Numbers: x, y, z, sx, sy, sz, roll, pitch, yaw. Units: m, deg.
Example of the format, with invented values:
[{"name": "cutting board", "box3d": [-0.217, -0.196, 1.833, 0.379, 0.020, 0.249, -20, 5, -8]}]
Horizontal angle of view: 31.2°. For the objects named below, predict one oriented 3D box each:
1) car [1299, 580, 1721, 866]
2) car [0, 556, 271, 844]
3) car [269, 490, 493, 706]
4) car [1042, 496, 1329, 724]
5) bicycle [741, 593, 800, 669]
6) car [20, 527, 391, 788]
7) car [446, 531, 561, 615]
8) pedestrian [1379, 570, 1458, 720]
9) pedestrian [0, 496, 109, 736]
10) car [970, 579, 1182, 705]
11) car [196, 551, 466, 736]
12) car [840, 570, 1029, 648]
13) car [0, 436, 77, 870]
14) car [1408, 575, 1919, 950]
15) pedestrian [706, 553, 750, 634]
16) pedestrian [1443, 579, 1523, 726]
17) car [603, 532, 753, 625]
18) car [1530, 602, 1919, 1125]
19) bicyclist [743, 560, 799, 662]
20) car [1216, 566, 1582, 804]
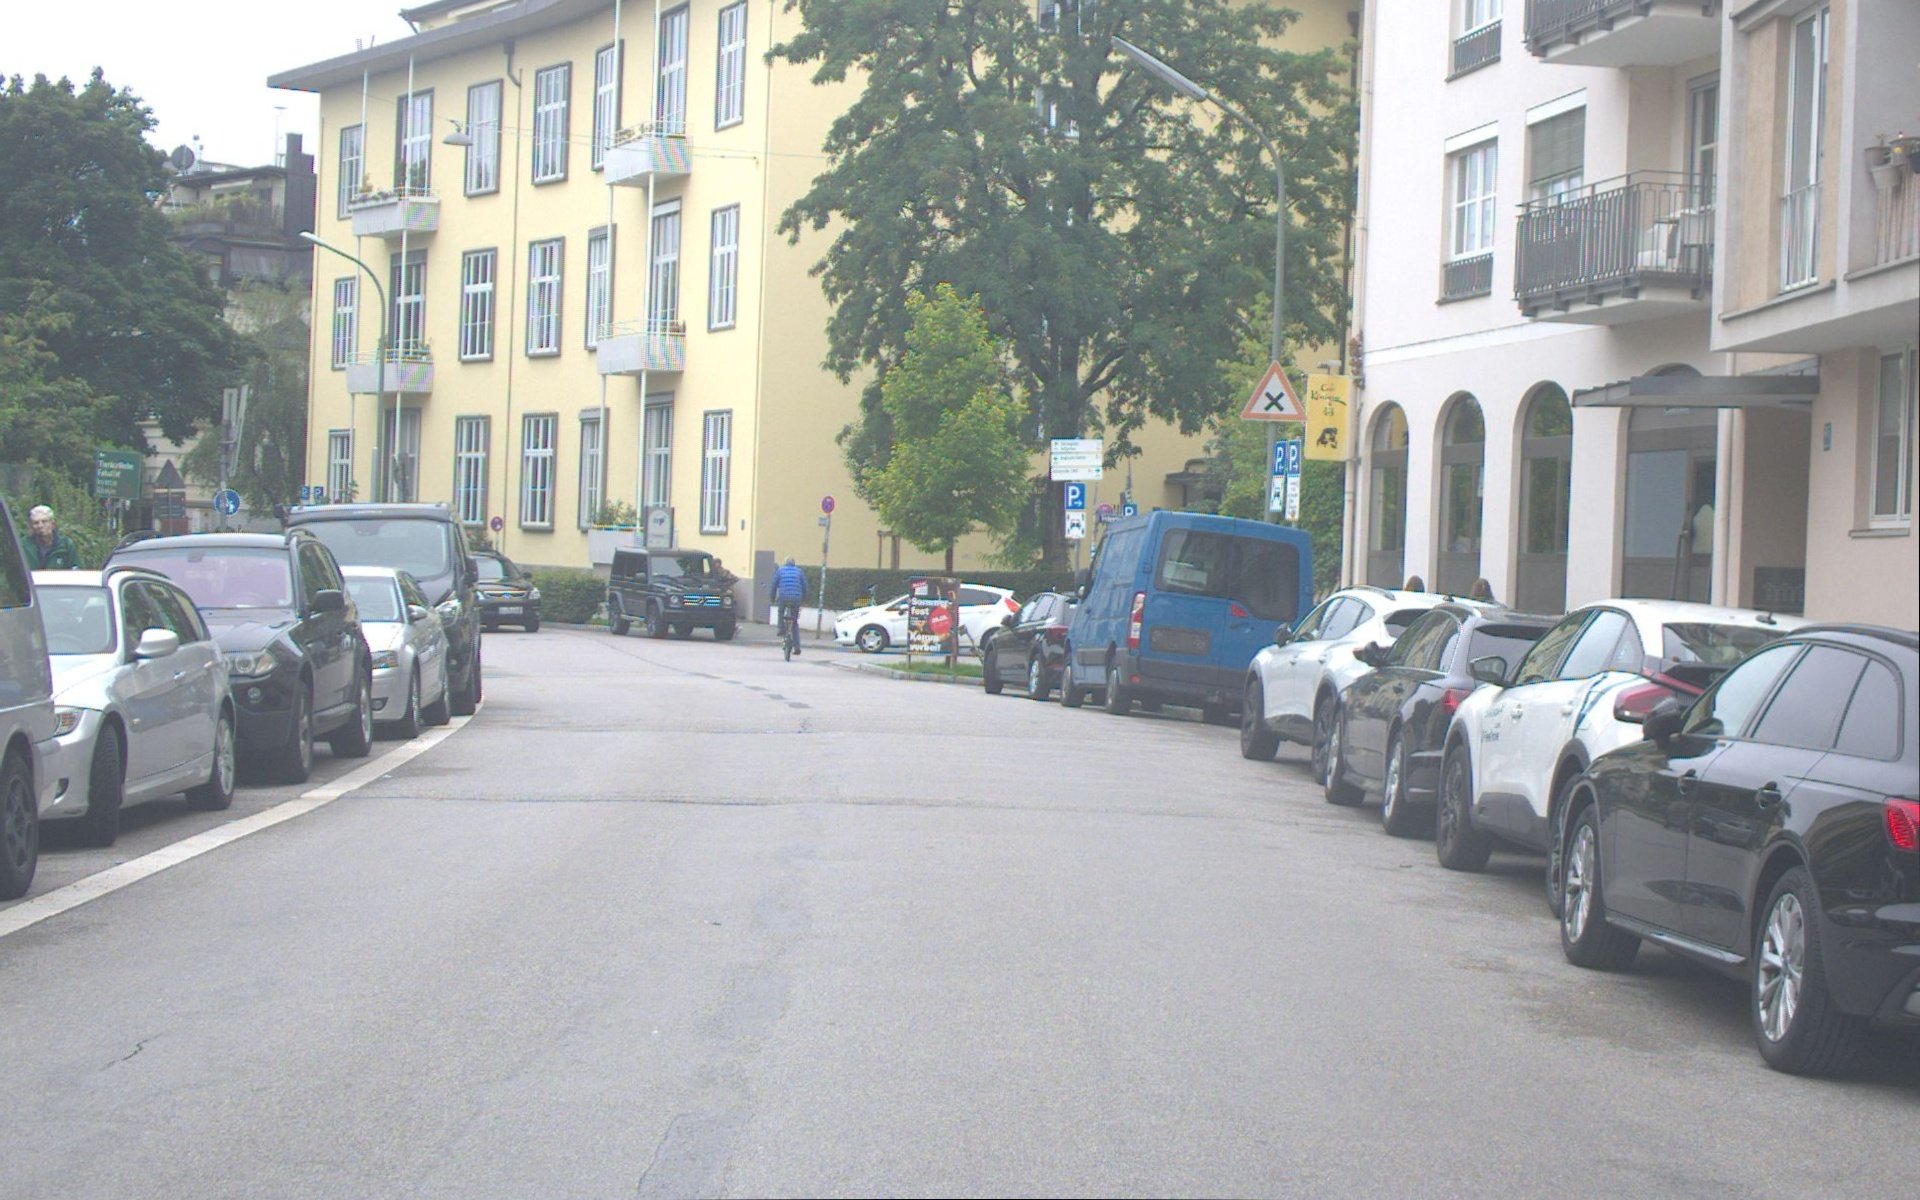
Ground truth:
[{"name": "car", "box3d": [3.415, 0.700, 22.259, 1.772, 1.424, 4.693, 7, 1, -1]}, {"name": "car", "box3d": [-5.122, 0.486, 18.834, 1.804, 1.373, 4.491, -3, 1, -1]}, {"name": "car", "box3d": [-5.673, -0.071, 34.145, 1.925, 1.972, 4.624, -1, 1, -7]}, {"name": "car", "box3d": [2.476, 0.149, 39.171, 2.109, 2.206, 5.029, 7, -2, -7]}, {"name": "bicycle", "box3d": [-3.348, 0.531, 60.913, 0.921, 1.248, 2.322, 2, 1, -1]}, {"name": "car", "box3d": [-5.100, 0.321, 23.790, 1.702, 1.601, 4.491, -1, 1, -2]}, {"name": "car", "box3d": [-10.156, -0.624, 76.252, 1.993, 1.713, 4.616, 2, 1, -14]}, {"name": "pedestrian", "box3d": [5.050, 0.492, 37.894, 0.678, 1.623, 0.830, 1, 0, -5]}, {"name": "pedestrian", "box3d": [-6.947, 0.108, 25.815, 0.843, 1.749, 0.872, 2, 1, 0]}, {"name": "car", "box3d": [1.471, 0.519, 45.158, 1.714, 1.390, 4.001, 5, 0, -13]}, {"name": "car", "box3d": [-5.231, 0.312, 29.029, 1.706, 1.361, 4.002, -2, 1, -3]}, {"name": "car", "box3d": [-0.497, 0.174, 69.188, 3.715, 1.401, 1.753, 2, 1, 1]}, {"name": "car", "box3d": [-4.904, 0.276, 12.981, 1.893, 1.792, 4.881, -2, 1, -1]}, {"name": "car", "box3d": [3.521, 0.709, 17.098, 1.702, 1.463, 4.121, 6, 0, -3]}, {"name": "pedestrian", "box3d": [-5.127, -0.141, 75.934, 0.848, 1.751, 0.954, 1, 1, -8]}, {"name": "pedestrian", "box3d": [5.768, 0.571, 37.958, 0.711, 1.599, 0.700, 1, 0, -4]}, {"name": "car", "box3d": [-6.244, -0.501, 75.671, 1.873, 1.881, 4.620, 2, 1, -23]}, {"name": "car", "box3d": [3.352, 0.811, 12.027, 1.827, 1.376, 4.491, 4, 1, -1]}, {"name": "bicyclist", "box3d": [-3.348, 0.191, 60.910, 0.914, 1.758, 1.215, 2, 1, -2]}, {"name": "car", "box3d": [3.430, 0.614, 27.719, 1.775, 1.517, 4.305, 6, 1, -7]}]
